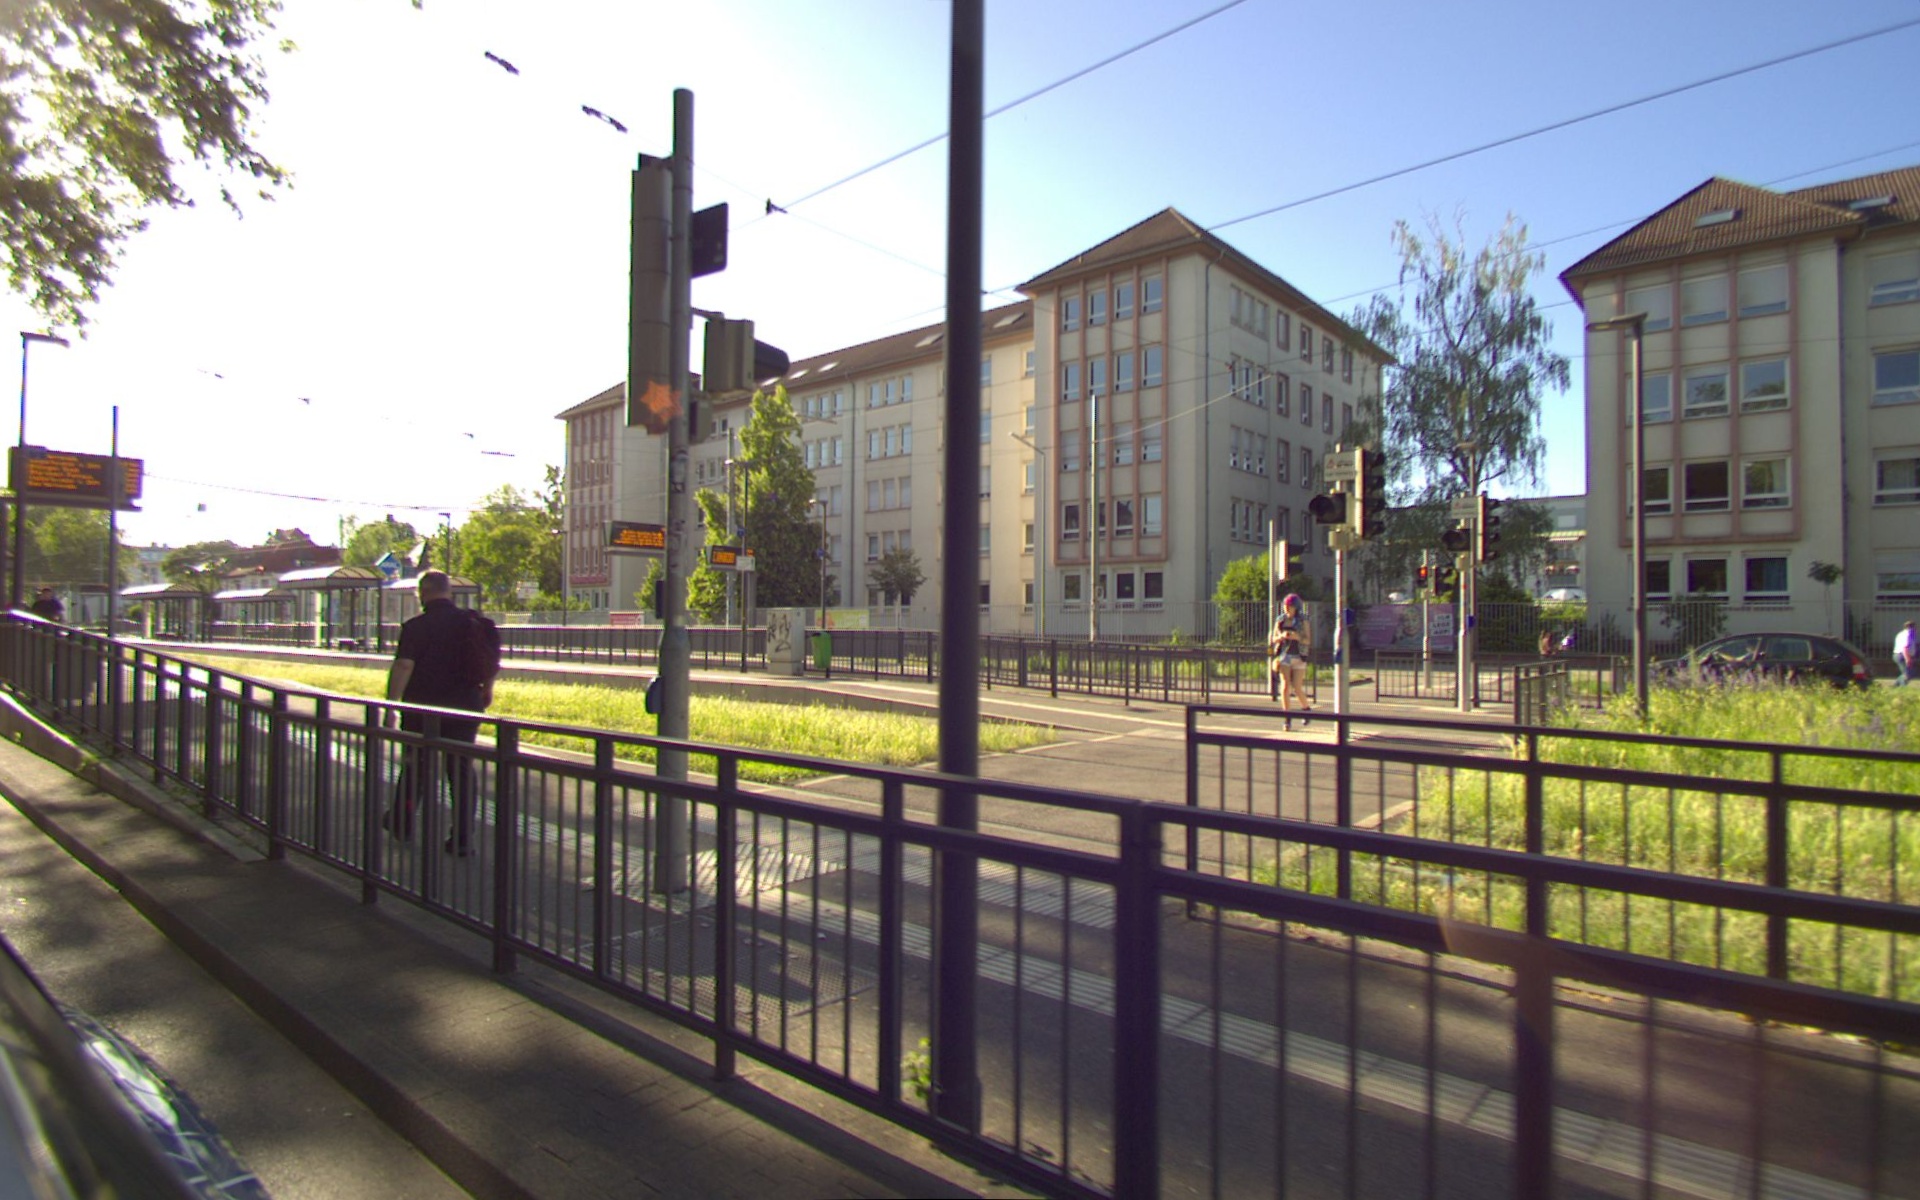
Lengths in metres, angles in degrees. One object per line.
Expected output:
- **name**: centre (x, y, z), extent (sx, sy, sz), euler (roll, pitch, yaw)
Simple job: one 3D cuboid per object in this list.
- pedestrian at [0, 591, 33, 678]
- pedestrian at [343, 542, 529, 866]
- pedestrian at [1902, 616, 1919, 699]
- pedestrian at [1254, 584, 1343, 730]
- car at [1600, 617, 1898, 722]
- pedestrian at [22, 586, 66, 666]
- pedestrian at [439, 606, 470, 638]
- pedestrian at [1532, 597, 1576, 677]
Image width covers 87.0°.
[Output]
- **pedestrian**: centre (-22.551, 0.809, 24.085), extent (0.716, 2.029, 0.660), euler (-1, -1, 42)
- **pedestrian**: centre (-3.011, 0.552, 5.819), extent (0.772, 1.693, 0.705), euler (-1, -1, 40)
- **pedestrian**: centre (21.561, 1.279, 22.701), extent (0.572, 1.851, 0.685), euler (-1, -2, 40)
- **pedestrian**: centre (4.276, 0.700, 12.774), extent (0.730, 1.749, 0.942), euler (-2, -2, 43)
- **car**: centre (14.529, 1.184, 18.777), extent (4.151, 1.720, 1.971), euler (-1, -2, 45)
- **pedestrian**: centre (-21.194, 0.598, 23.413), extent (0.754, 1.797, 0.674), euler (-1, -1, 42)
- **pedestrian**: centre (-22.652, 0.978, 45.343), extent (0.878, 1.386, 0.965), euler (-1, -1, 40)
- **pedestrian**: centre (15.382, 0.950, 26.195), extent (0.860, 2.029, 0.656), euler (-1, -2, 40)
